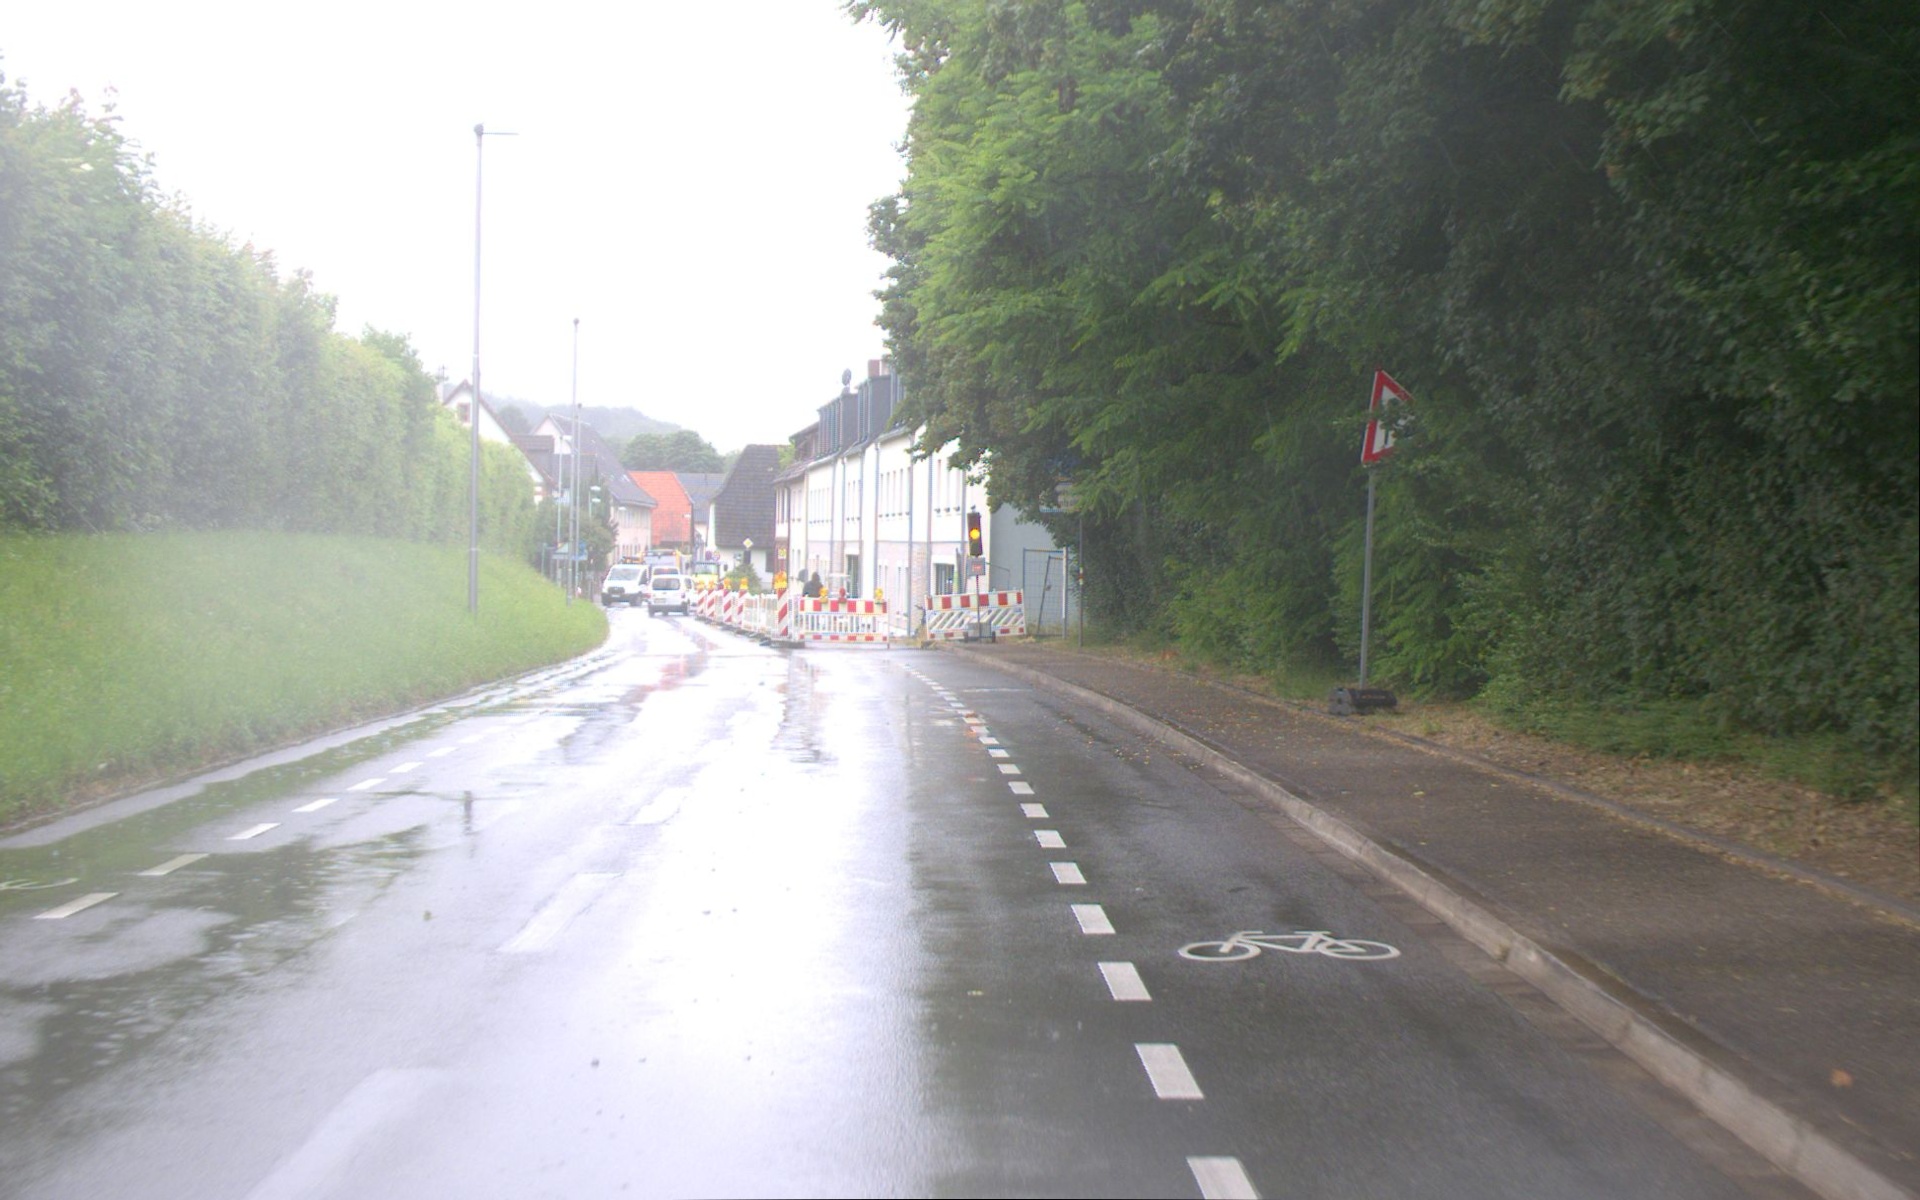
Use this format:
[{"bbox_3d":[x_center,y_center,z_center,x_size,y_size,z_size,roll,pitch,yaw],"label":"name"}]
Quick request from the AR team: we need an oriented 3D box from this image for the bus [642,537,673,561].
[{"bbox_3d":[-19.167,-3.251,217.906,1.794,1.405,4.001,2,2,-3],"label":"bus"}]

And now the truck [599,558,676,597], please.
[{"bbox_3d":[-17.177,-1.209,183.398,1.996,2.006,4.899,3,2,22],"label":"truck"}]

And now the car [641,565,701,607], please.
[{"bbox_3d":[-12.895,-0.629,153.376,1.994,1.605,4.000,7,1,3],"label":"car"}]

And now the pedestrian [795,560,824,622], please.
[{"bbox_3d":[-4.354,-0.266,99.477,0.665,1.749,0.812,2,1,-12],"label":"pedestrian"}]
